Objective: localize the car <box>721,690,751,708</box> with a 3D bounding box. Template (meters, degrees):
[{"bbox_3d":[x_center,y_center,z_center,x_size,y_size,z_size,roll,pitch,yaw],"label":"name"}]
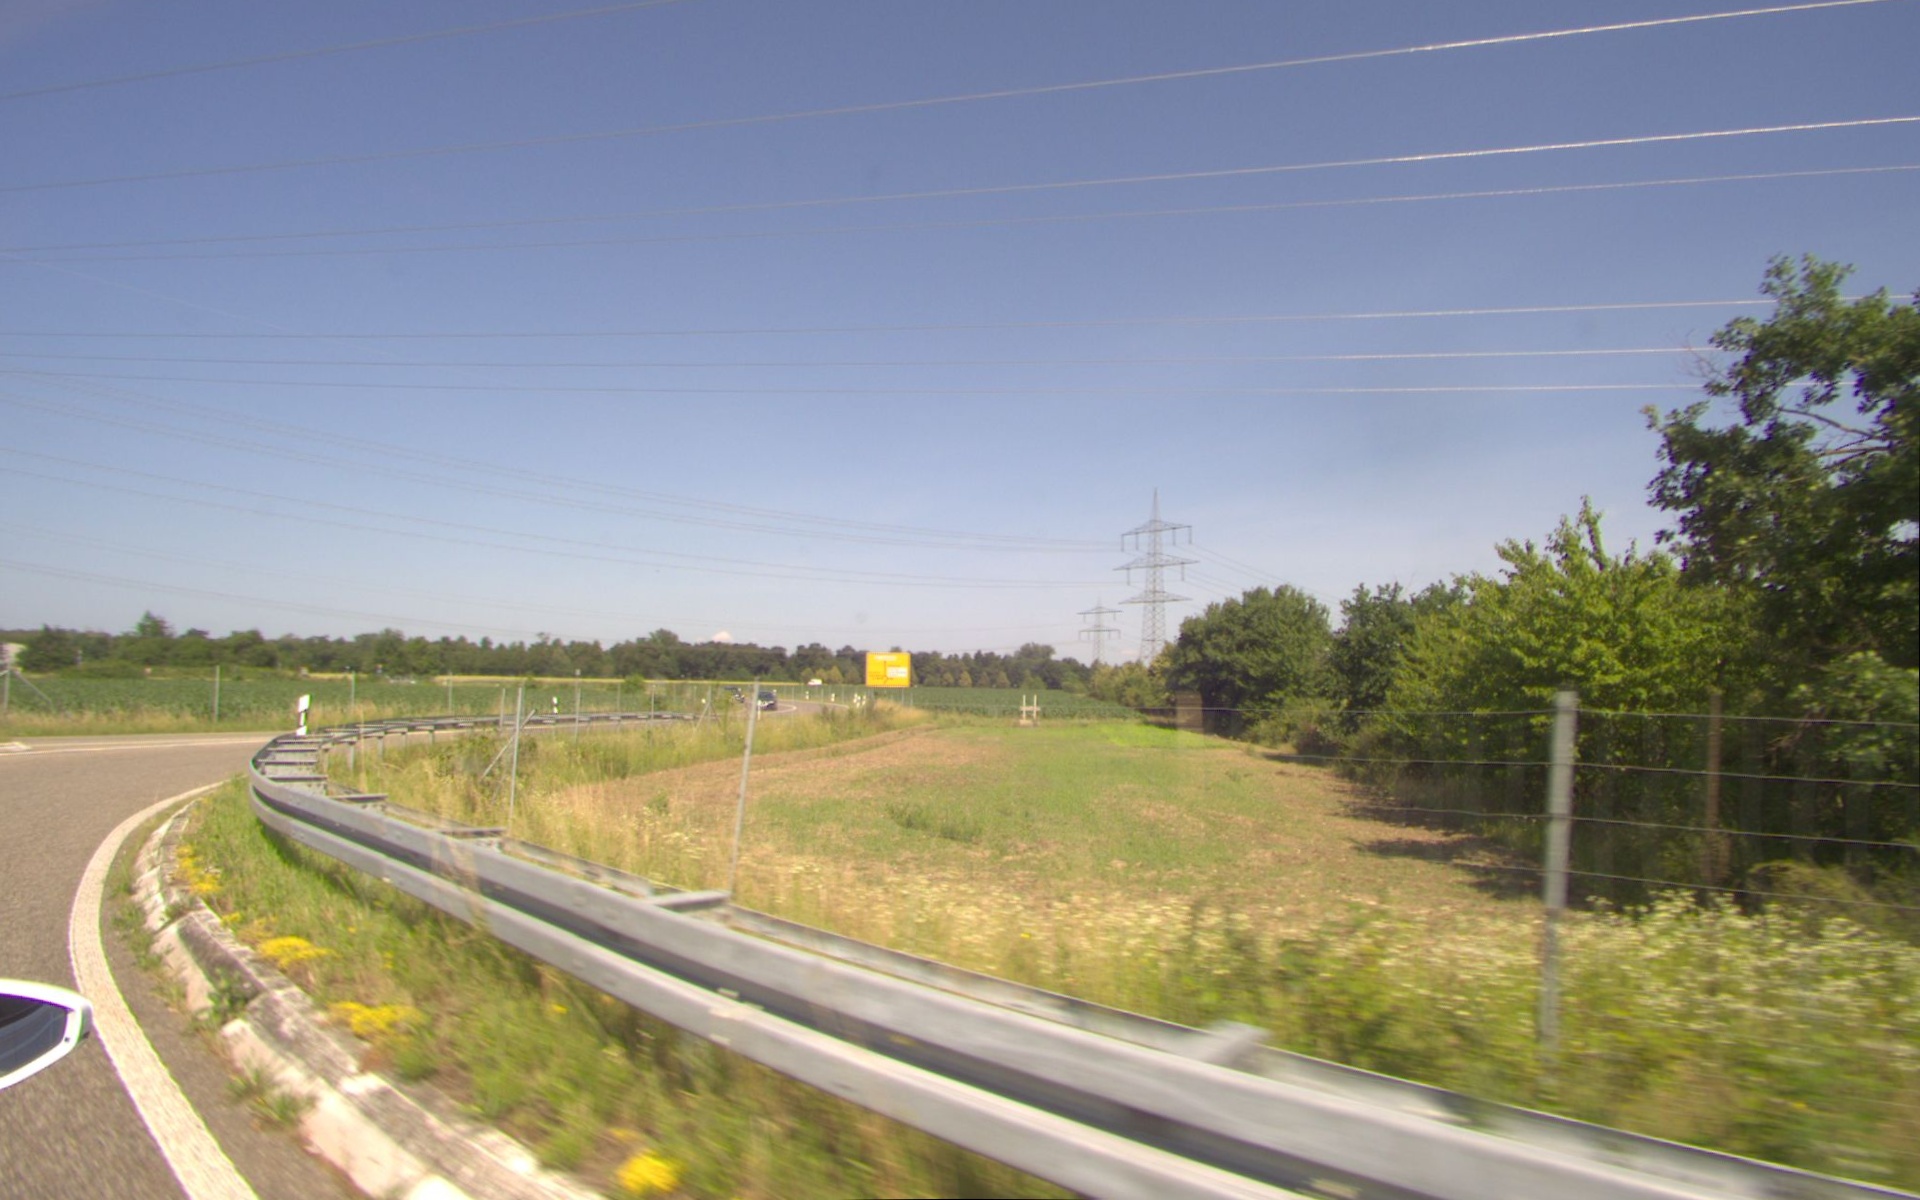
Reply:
[{"bbox_3d":[-24.172,10.639,107.890,1.962,1.726,4.244,5,-5,-28],"label":"car"}]

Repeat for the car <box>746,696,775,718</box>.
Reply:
[{"bbox_3d":[-14.889,7.954,74.769,1.747,1.473,4.597,2,-5,-7],"label":"car"}]
